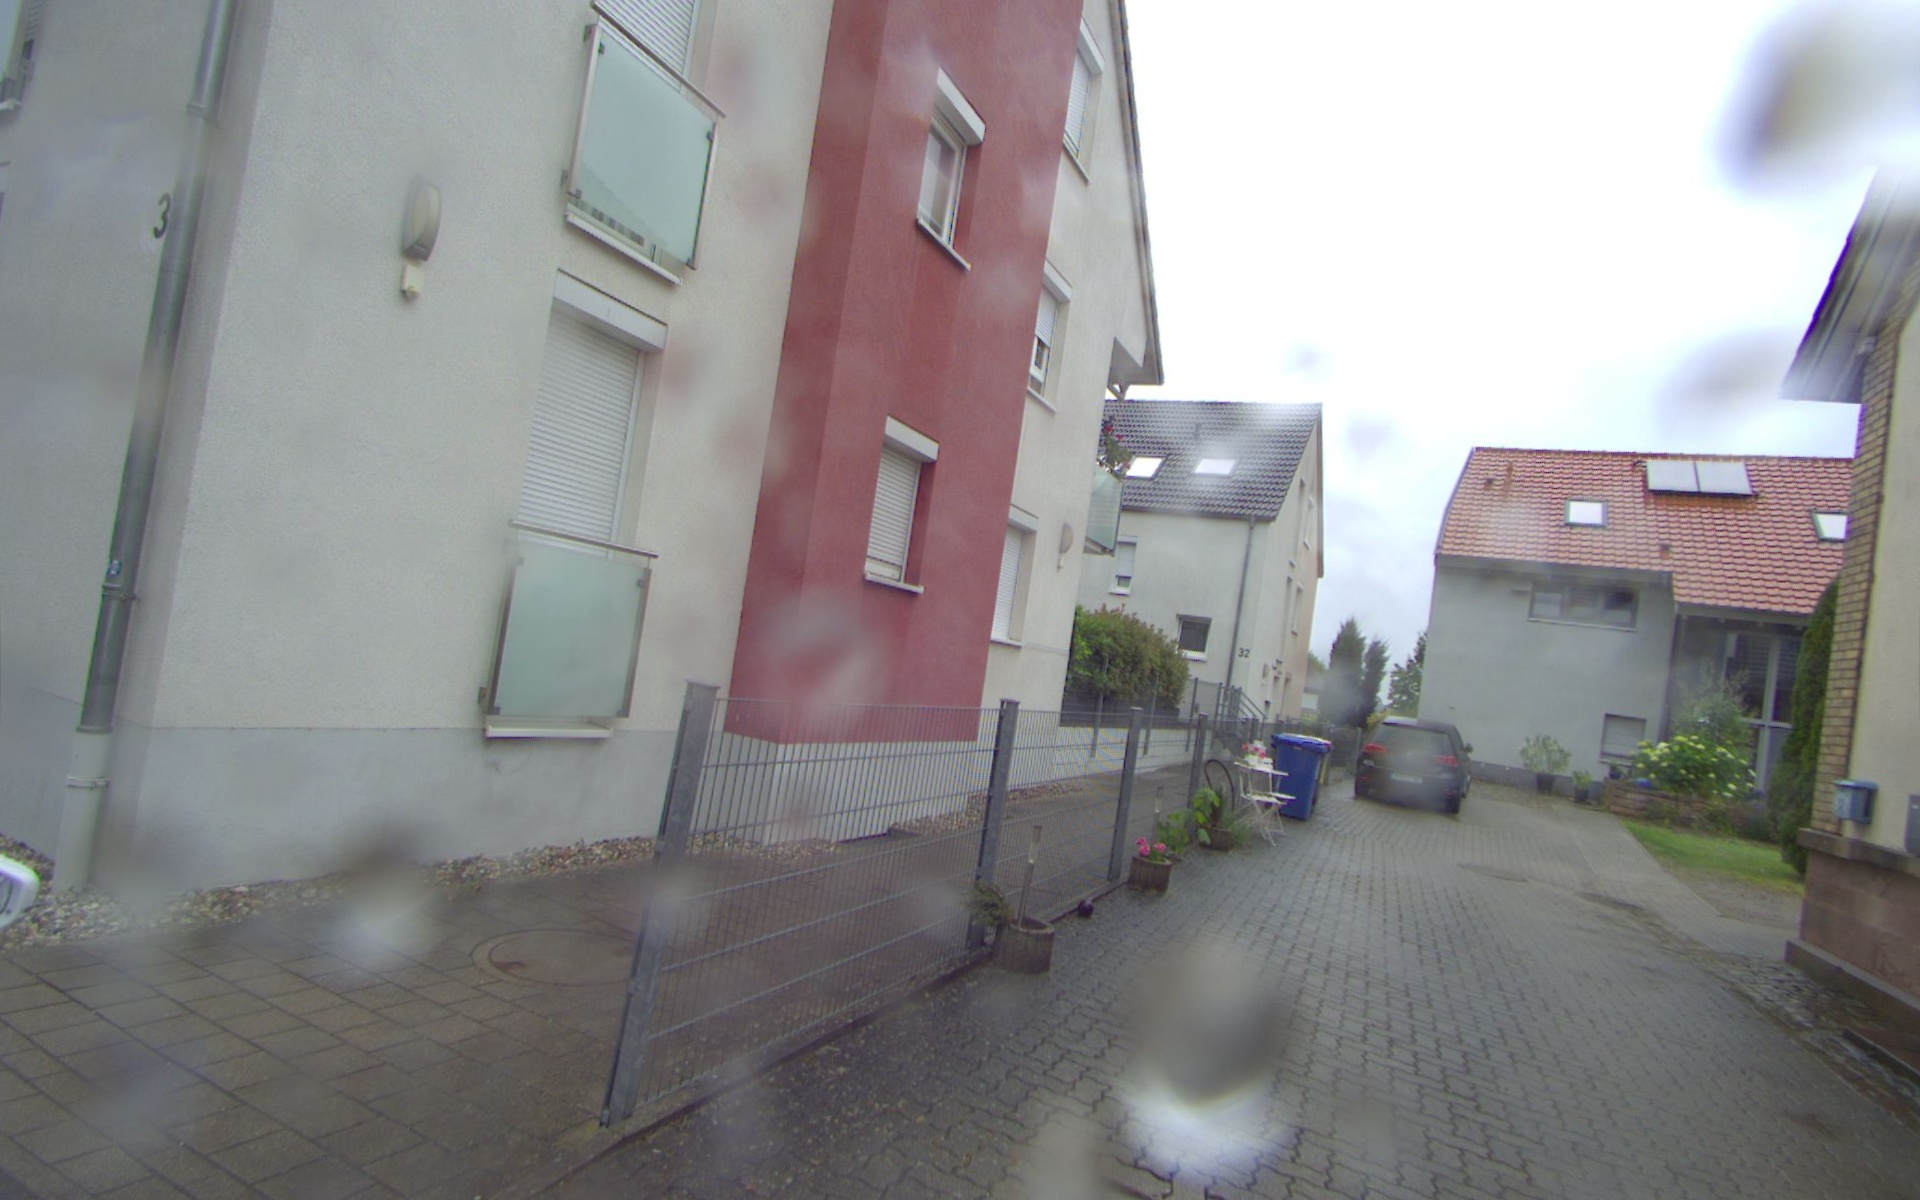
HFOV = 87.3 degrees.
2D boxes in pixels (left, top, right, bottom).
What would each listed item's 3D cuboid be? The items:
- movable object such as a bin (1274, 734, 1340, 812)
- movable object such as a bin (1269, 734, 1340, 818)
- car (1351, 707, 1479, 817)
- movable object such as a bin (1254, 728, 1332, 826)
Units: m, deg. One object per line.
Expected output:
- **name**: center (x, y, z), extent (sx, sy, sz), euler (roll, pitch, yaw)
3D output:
- **movable object such as a bin**: center (5.453, 2.698, 15.780), extent (0.789, 1.049, 0.729), euler (7, -4, 26)
- **movable object such as a bin**: center (4.988, 2.529, 14.557), extent (0.789, 1.049, 0.729), euler (7, -4, 26)
- **car**: center (8.459, 2.881, 18.532), extent (1.667, 1.480, 3.566), euler (6, 0, 31)
- **movable object such as a bin**: center (4.494, 2.374, 13.569), extent (0.789, 1.146, 0.729), euler (7, -4, 26)
